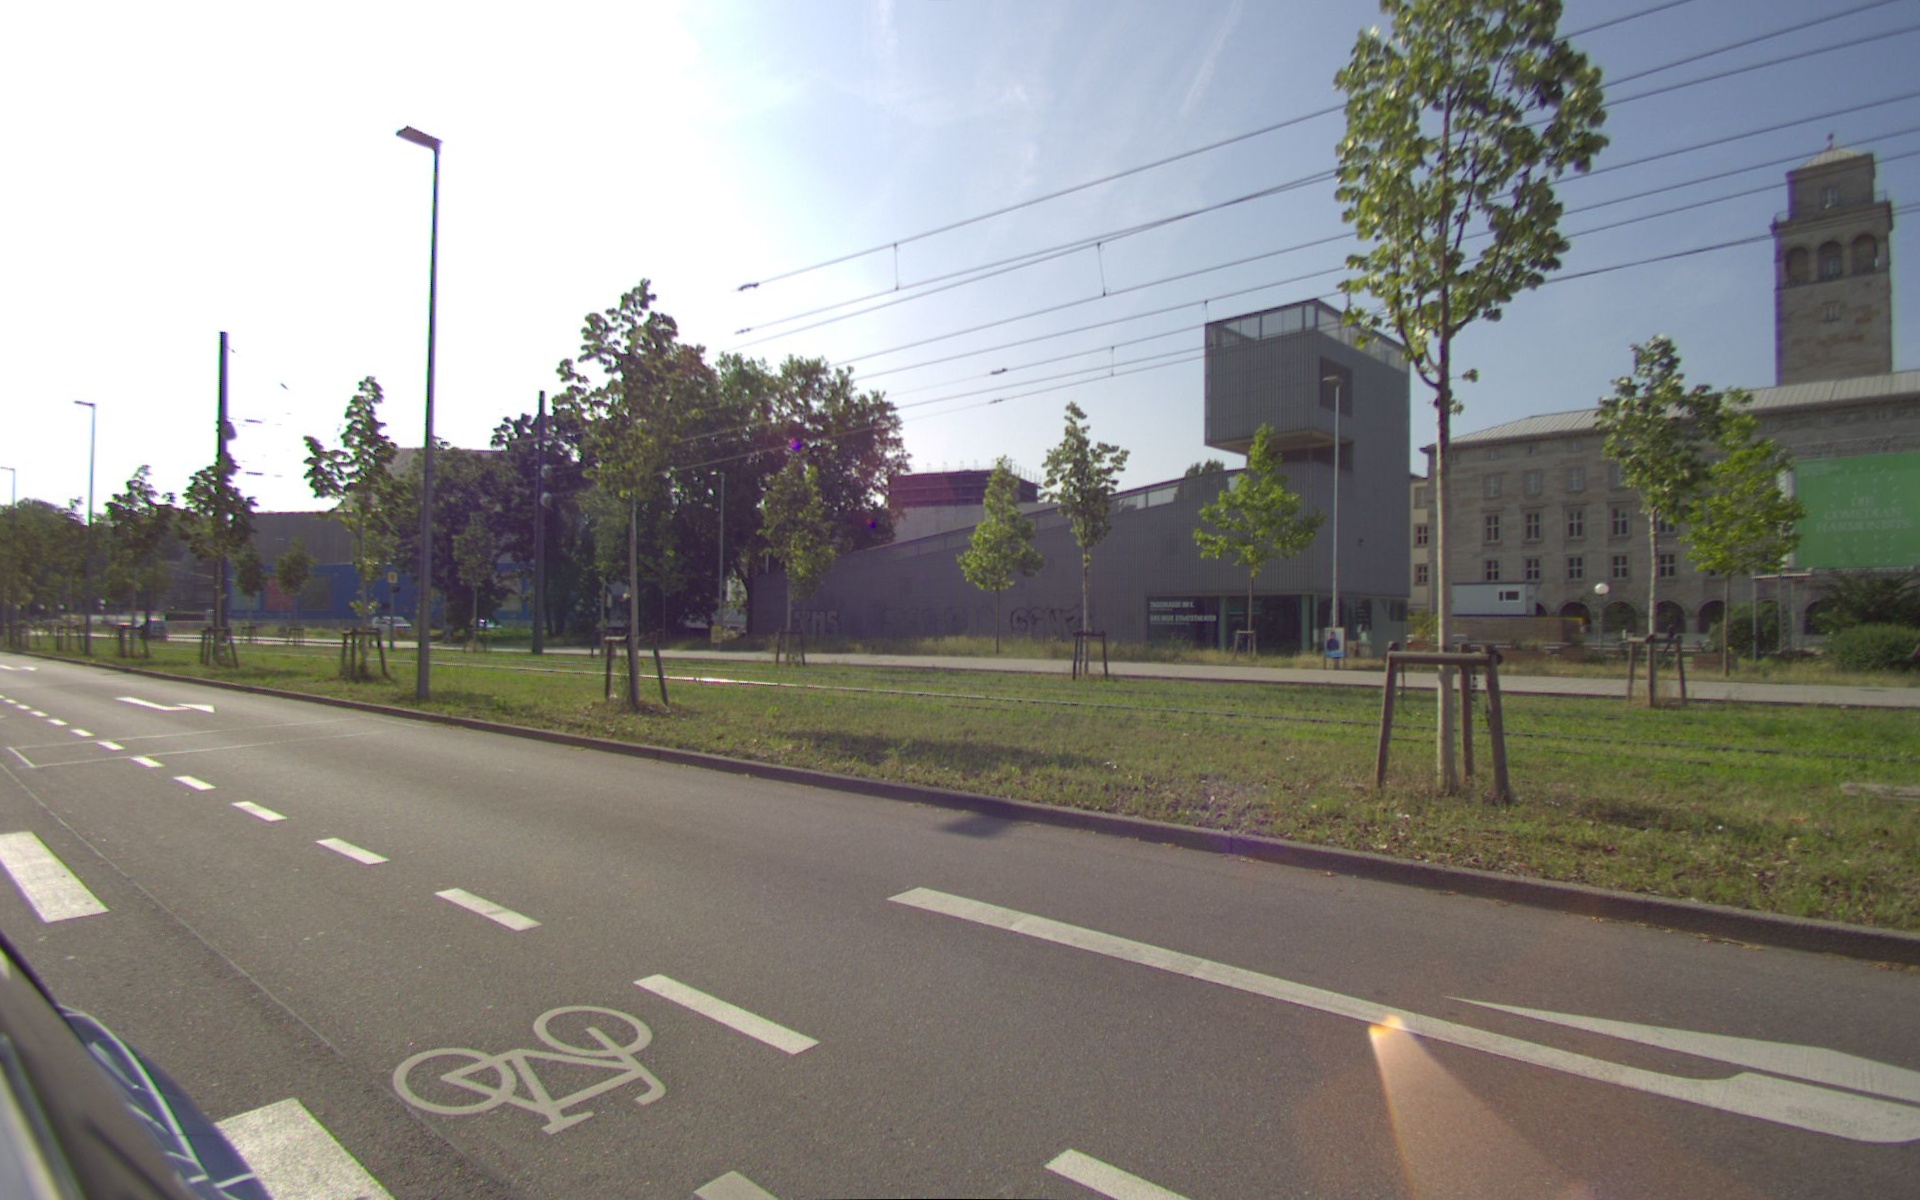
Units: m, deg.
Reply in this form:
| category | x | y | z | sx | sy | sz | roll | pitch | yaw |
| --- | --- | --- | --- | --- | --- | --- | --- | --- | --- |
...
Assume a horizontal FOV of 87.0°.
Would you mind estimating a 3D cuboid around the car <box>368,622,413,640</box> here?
| category | x | y | z | sx | sy | sz | roll | pitch | yaw |
| --- | --- | --- | --- | --- | --- | --- | --- | --- | --- |
| car | -57.651 | 3.121 | 102.503 | 4.810 | 1.781 | 1.996 | -1 | -2 | 34 |

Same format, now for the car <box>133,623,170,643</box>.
| category | x | y | z | sx | sy | sz | roll | pitch | yaw |
| --- | --- | --- | --- | --- | --- | --- | --- | --- | --- |
| car | -65.852 | 2.694 | 82.396 | 3.770 | 1.630 | 1.733 | -1 | -2 | 42 |
